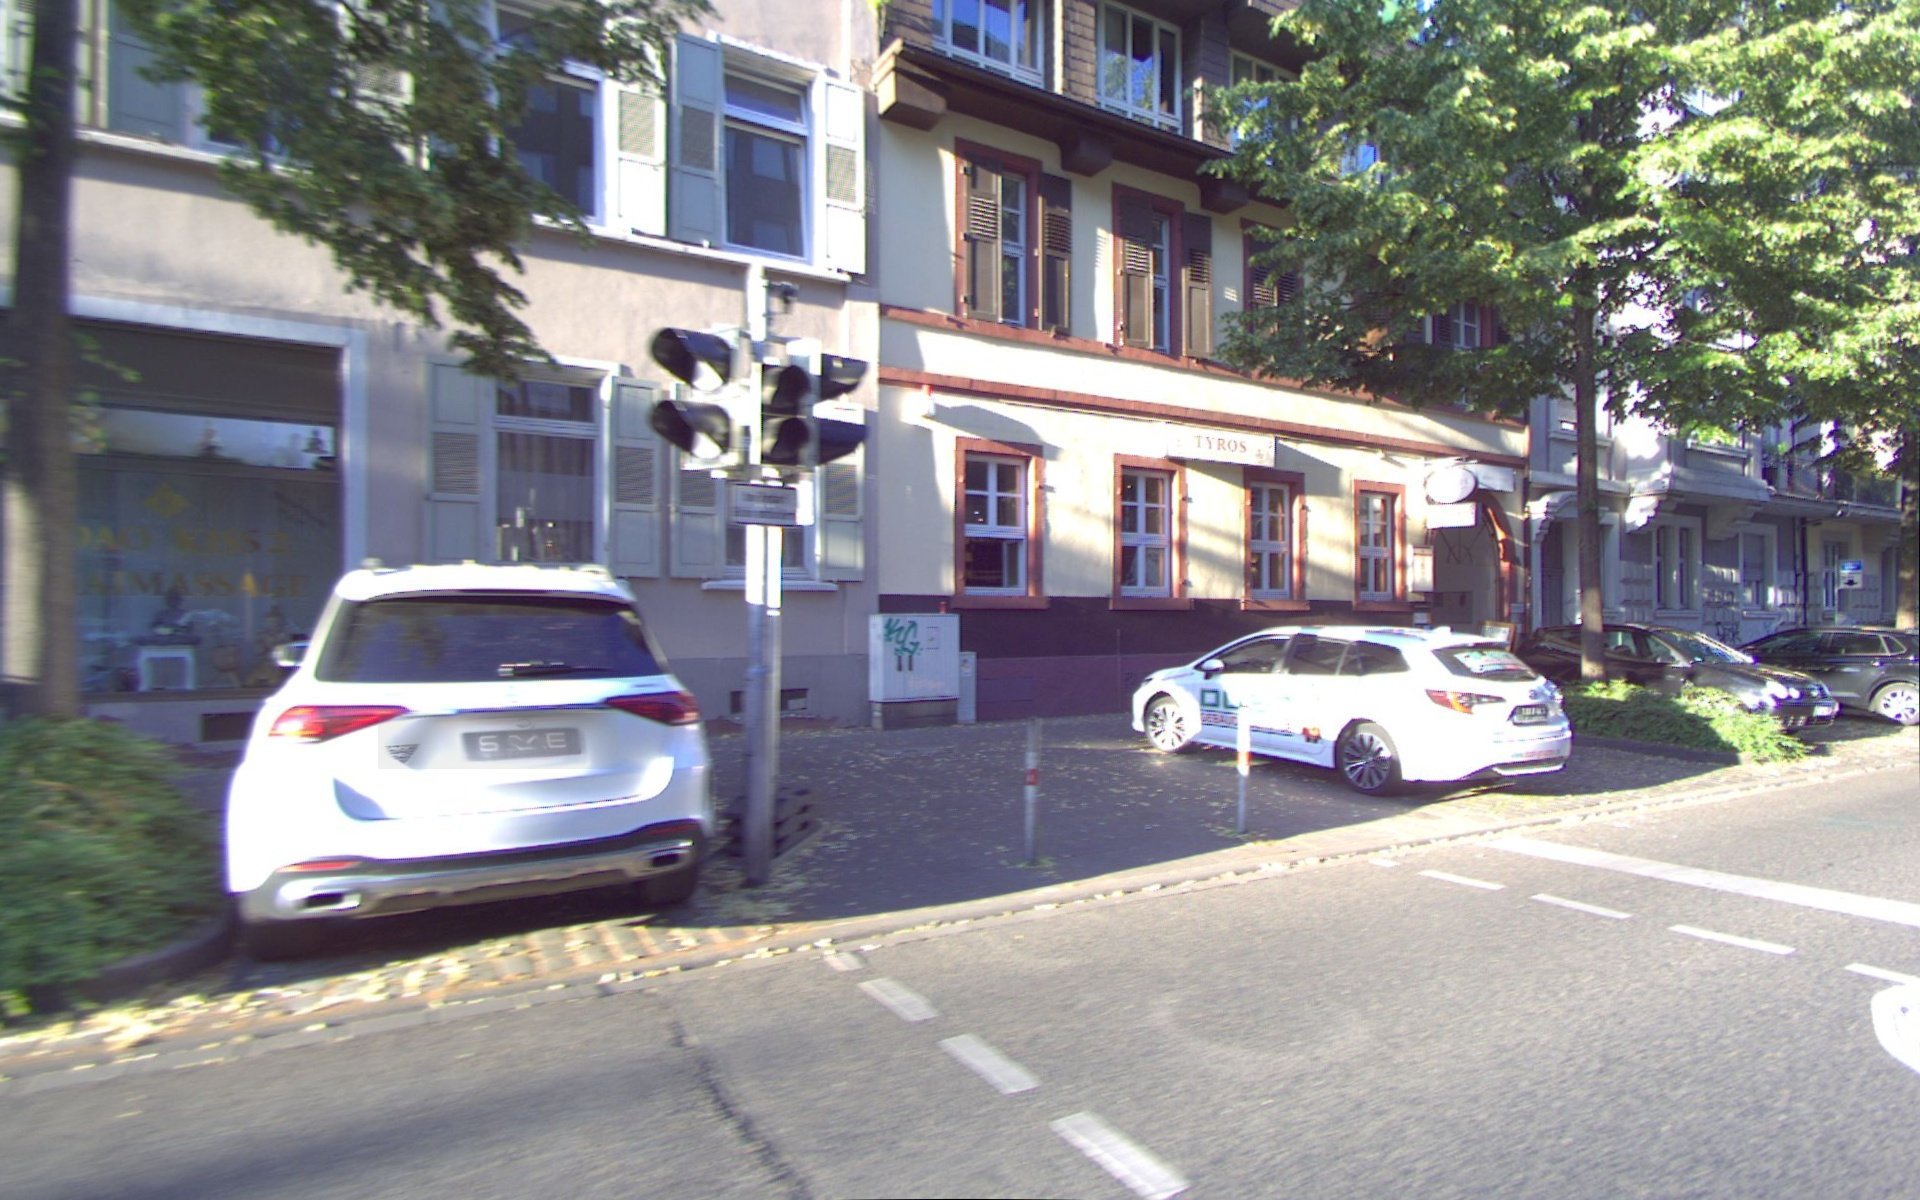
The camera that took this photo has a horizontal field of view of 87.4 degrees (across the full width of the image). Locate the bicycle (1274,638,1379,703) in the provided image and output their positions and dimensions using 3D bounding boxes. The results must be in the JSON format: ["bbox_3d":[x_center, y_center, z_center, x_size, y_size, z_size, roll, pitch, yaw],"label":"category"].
[{"bbox_3d":[6.076,1.143,16.623,1.710,1.002,0.618,1,1,-26],"label":"bicycle"}]

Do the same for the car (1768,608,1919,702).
[{"bbox_3d":[18.234,1.027,19.013,1.873,1.673,4.205,0,0,-33],"label":"car"}]

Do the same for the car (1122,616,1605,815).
[{"bbox_3d":[3.722,0.933,10.131,1.801,1.442,4.361,0,0,-30],"label":"car"}]

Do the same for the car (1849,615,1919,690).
[{"bbox_3d":[20.819,1.096,20.096,1.947,1.502,4.165,0,0,-30],"label":"car"}]

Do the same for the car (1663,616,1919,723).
[{"bbox_3d":[14.132,1.057,16.489,1.678,1.468,3.893,1,1,-32],"label":"car"}]

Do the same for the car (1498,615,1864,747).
[{"bbox_3d":[9.846,1.000,14.033,1.766,1.468,3.770,1,1,-27],"label":"car"}]

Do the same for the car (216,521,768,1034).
[{"bbox_3d":[-2.872,0.625,6.148,2.027,1.835,4.687,0,0,-28],"label":"car"}]

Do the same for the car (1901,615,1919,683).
[{"bbox_3d":[23.110,1.135,21.882,1.822,1.530,3.396,1,0,-26],"label":"car"}]
